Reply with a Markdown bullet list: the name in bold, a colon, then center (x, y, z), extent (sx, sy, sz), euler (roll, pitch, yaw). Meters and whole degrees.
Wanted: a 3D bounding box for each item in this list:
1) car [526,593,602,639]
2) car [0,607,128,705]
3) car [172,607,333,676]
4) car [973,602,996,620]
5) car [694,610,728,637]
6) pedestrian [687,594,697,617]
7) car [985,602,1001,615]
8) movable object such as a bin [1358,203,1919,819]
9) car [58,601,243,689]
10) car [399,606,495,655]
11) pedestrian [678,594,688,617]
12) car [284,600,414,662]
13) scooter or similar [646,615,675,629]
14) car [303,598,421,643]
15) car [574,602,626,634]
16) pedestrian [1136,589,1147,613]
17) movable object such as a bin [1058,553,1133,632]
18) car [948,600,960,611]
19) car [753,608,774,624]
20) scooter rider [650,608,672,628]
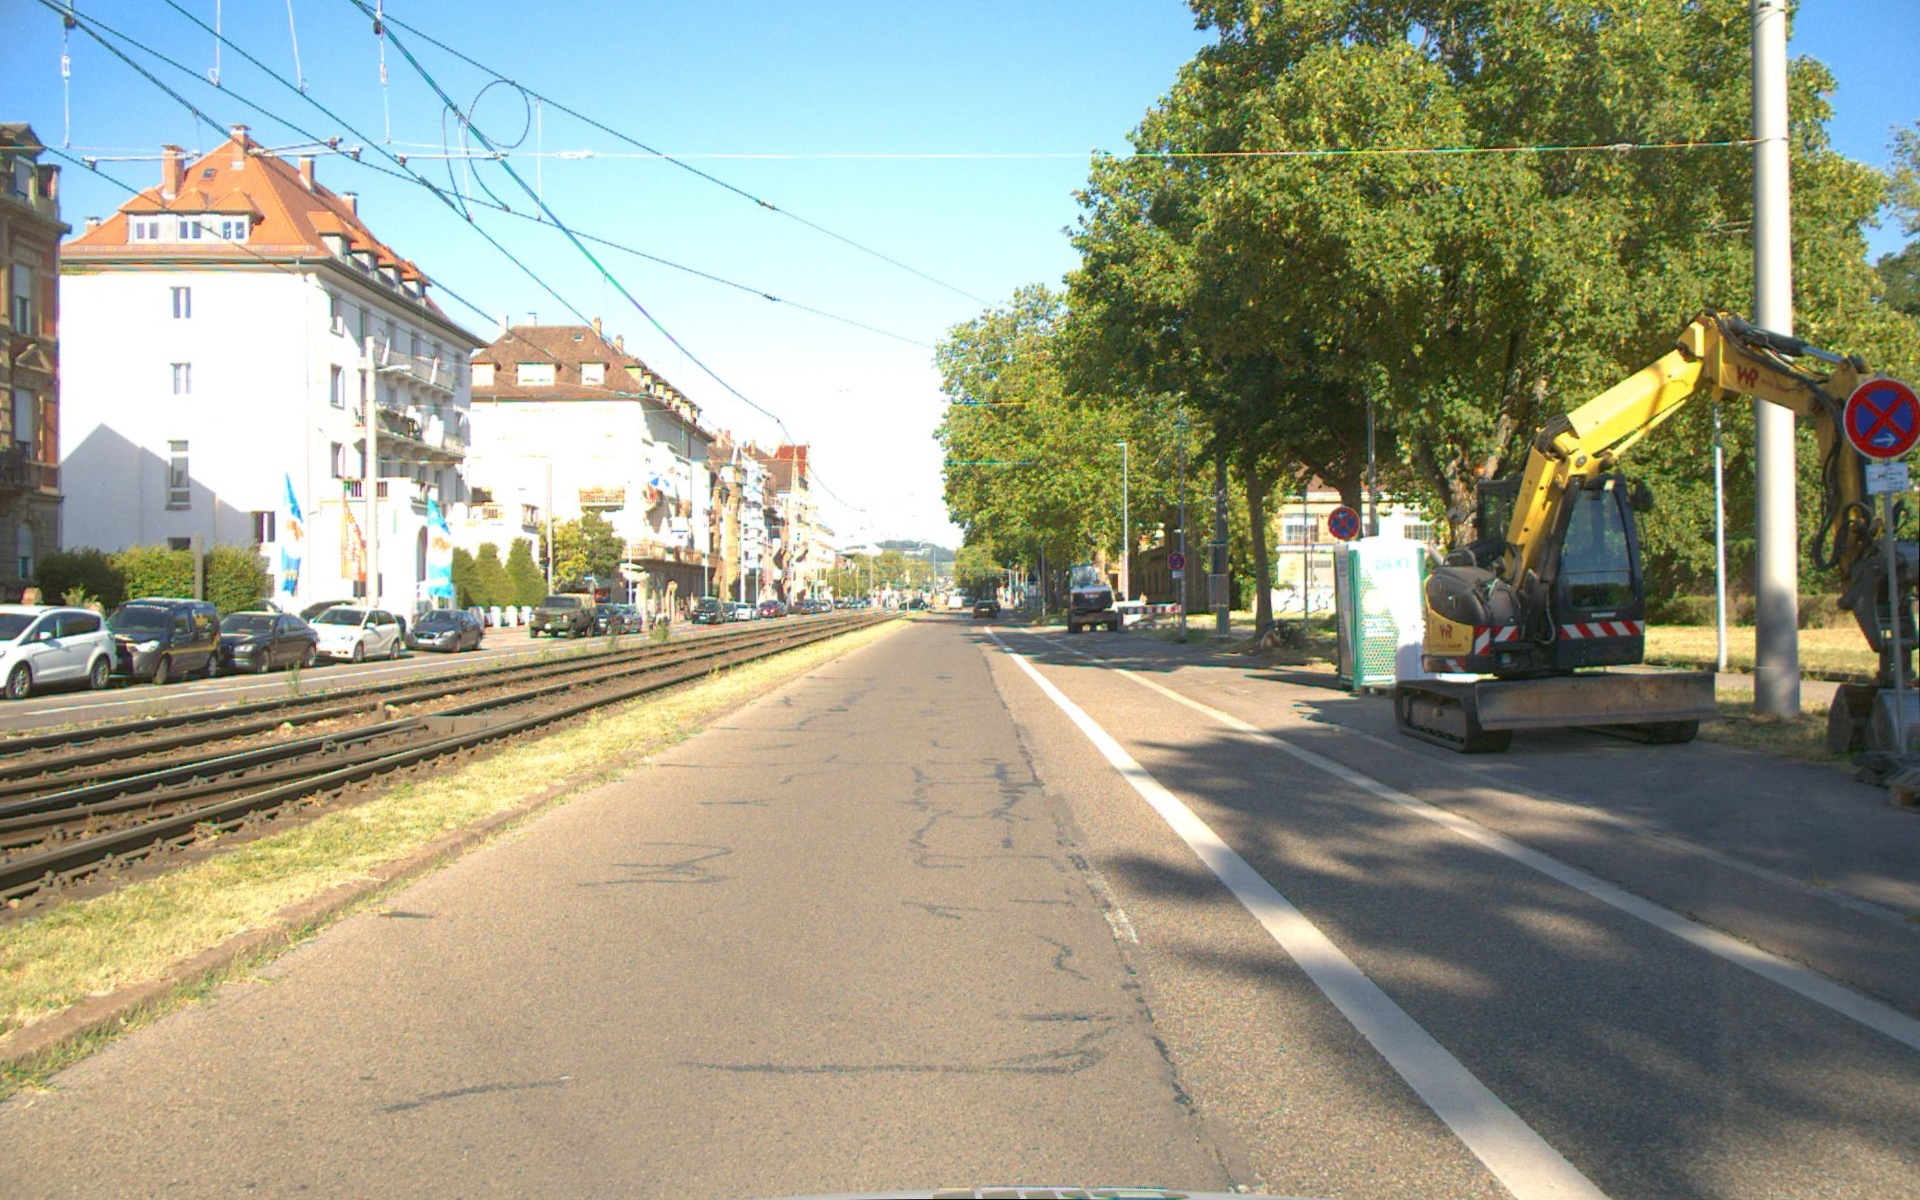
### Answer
- **car**: center (-18.462, 0.737, 77.348), extent (2.034, 2.045, 5.593), euler (1, 0, 2)
- **car**: center (-18.209, 1.021, 31.964), extent (1.881, 1.713, 4.627), euler (1, 0, 0)
- **car**: center (-18.042, 1.014, 42.453), extent (1.881, 1.588, 4.843), euler (1, 0, 2)
- **car**: center (1.995, 0.887, 136.149), extent (1.796, 1.415, 4.158), euler (0, 0, -1)
- **car**: center (-18.148, 1.671, 120.743), extent (1.824, 1.817, 4.401), euler (1, 0, -1)
- **pedestrian**: center (-20.666, 0.423, 127.550), extent (0.577, 1.726, 0.857), euler (1, -1, 2)
- **car**: center (3.962, 1.004, 200.688), extent (1.758, 1.537, 3.999), euler (0, 0, -1)
- **movable object such as a bin**: center (6.377, -0.655, 14.953), extent (3.272, 4.045, 7.595), euler (-4, 0, -2)
- **car**: center (-18.043, 0.940, 37.110), extent (1.881, 1.812, 4.498), euler (1, 0, 1)
- **car**: center (-17.970, 1.048, 58.203), extent (1.882, 1.486, 4.840), euler (4, 0, -2)
- **pedestrian**: center (-21.351, 0.408, 127.497), extent (0.577, 1.726, 0.857), euler (1, -1, 2)
- **car**: center (-17.959, 0.870, 48.877), extent (1.881, 1.724, 4.843), euler (1, 0, 2)
- **scooter or similar**: center (-17.425, 1.270, 96.232), extent (1.536, 0.784, 0.806), euler (-1, 0, 31)
- **car**: center (-24.221, 0.827, 67.048), extent (4.040, 1.661, 1.953), euler (-1, 2, 9)
- **car**: center (-18.195, 0.919, 83.744), extent (1.601, 1.534, 4.159), euler (0, -1, 2)
- **pedestrian**: center (13.429, 0.105, 122.131), extent (0.596, 1.711, 0.636), euler (-5, 0, -2)
- **movable object such as a bin**: center (6.005, -0.332, 74.428), extent (2.688, 3.200, 7.220), euler (-4, 0, 1)
- **car**: center (-0.863, 0.754, 240.748), extent (1.758, 1.537, 3.999), euler (1, -1, -1)
- **car**: center (-18.817, 1.512, 158.739), extent (1.797, 1.415, 4.031), euler (2, 0, -5)
- **scooter rider**: center (-17.394, 1.043, 96.214), extent (0.958, 1.108, 0.806), euler (-1, 0, 31)
